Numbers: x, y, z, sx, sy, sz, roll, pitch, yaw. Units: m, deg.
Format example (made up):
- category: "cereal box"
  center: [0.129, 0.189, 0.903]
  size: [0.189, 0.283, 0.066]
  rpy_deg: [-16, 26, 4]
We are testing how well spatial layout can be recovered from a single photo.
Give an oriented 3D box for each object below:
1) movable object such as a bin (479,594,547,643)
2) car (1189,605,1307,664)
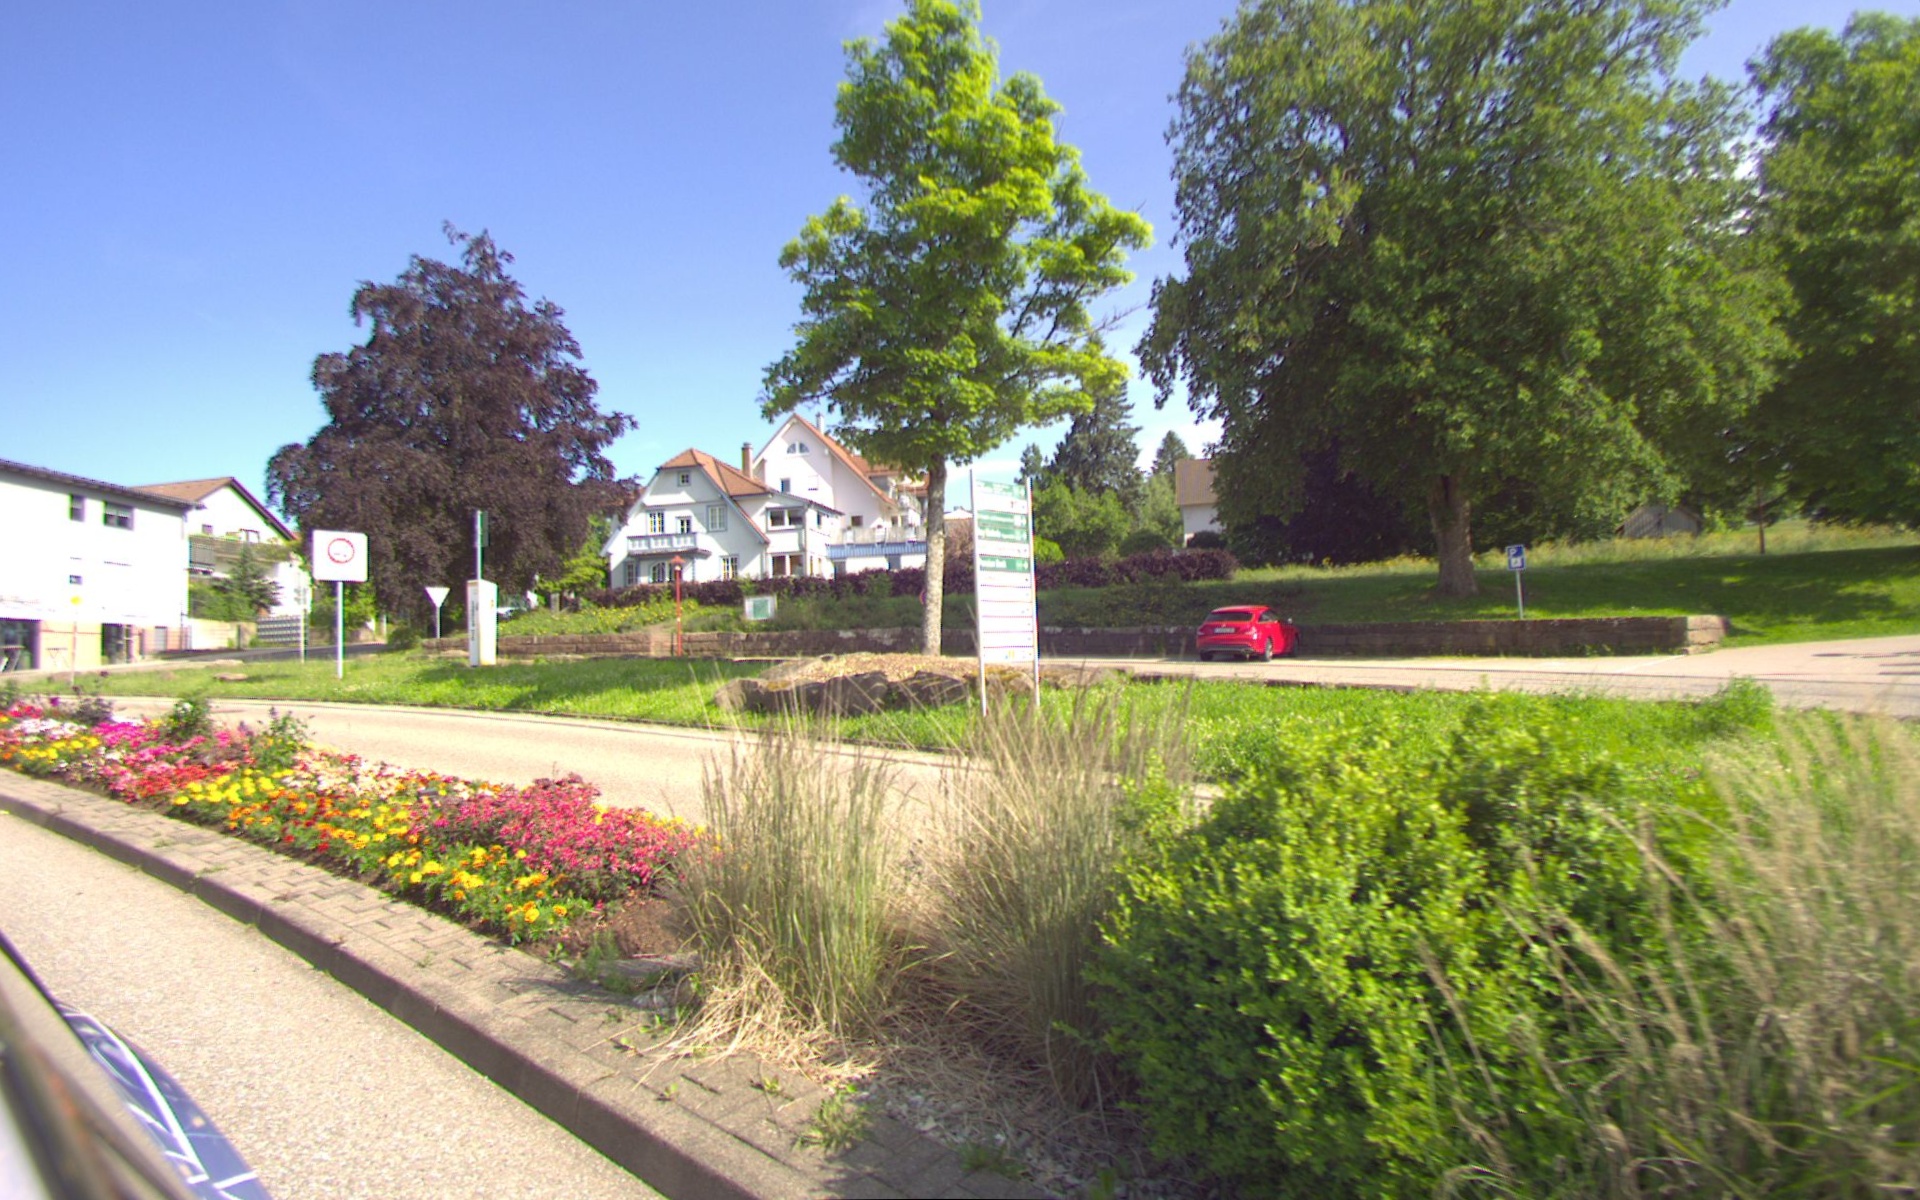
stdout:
- category: "movable object such as a bin"
  center: [-27.043, 1.071, 61.440]
  size: [1.971, 2.790, 5.106]
  rpy_deg: [-2, -1, -1]
- category: "car"
  center: [7.697, 0.878, 26.789]
  size: [1.818, 1.409, 4.191]
  rpy_deg: [-3, -1, 33]
